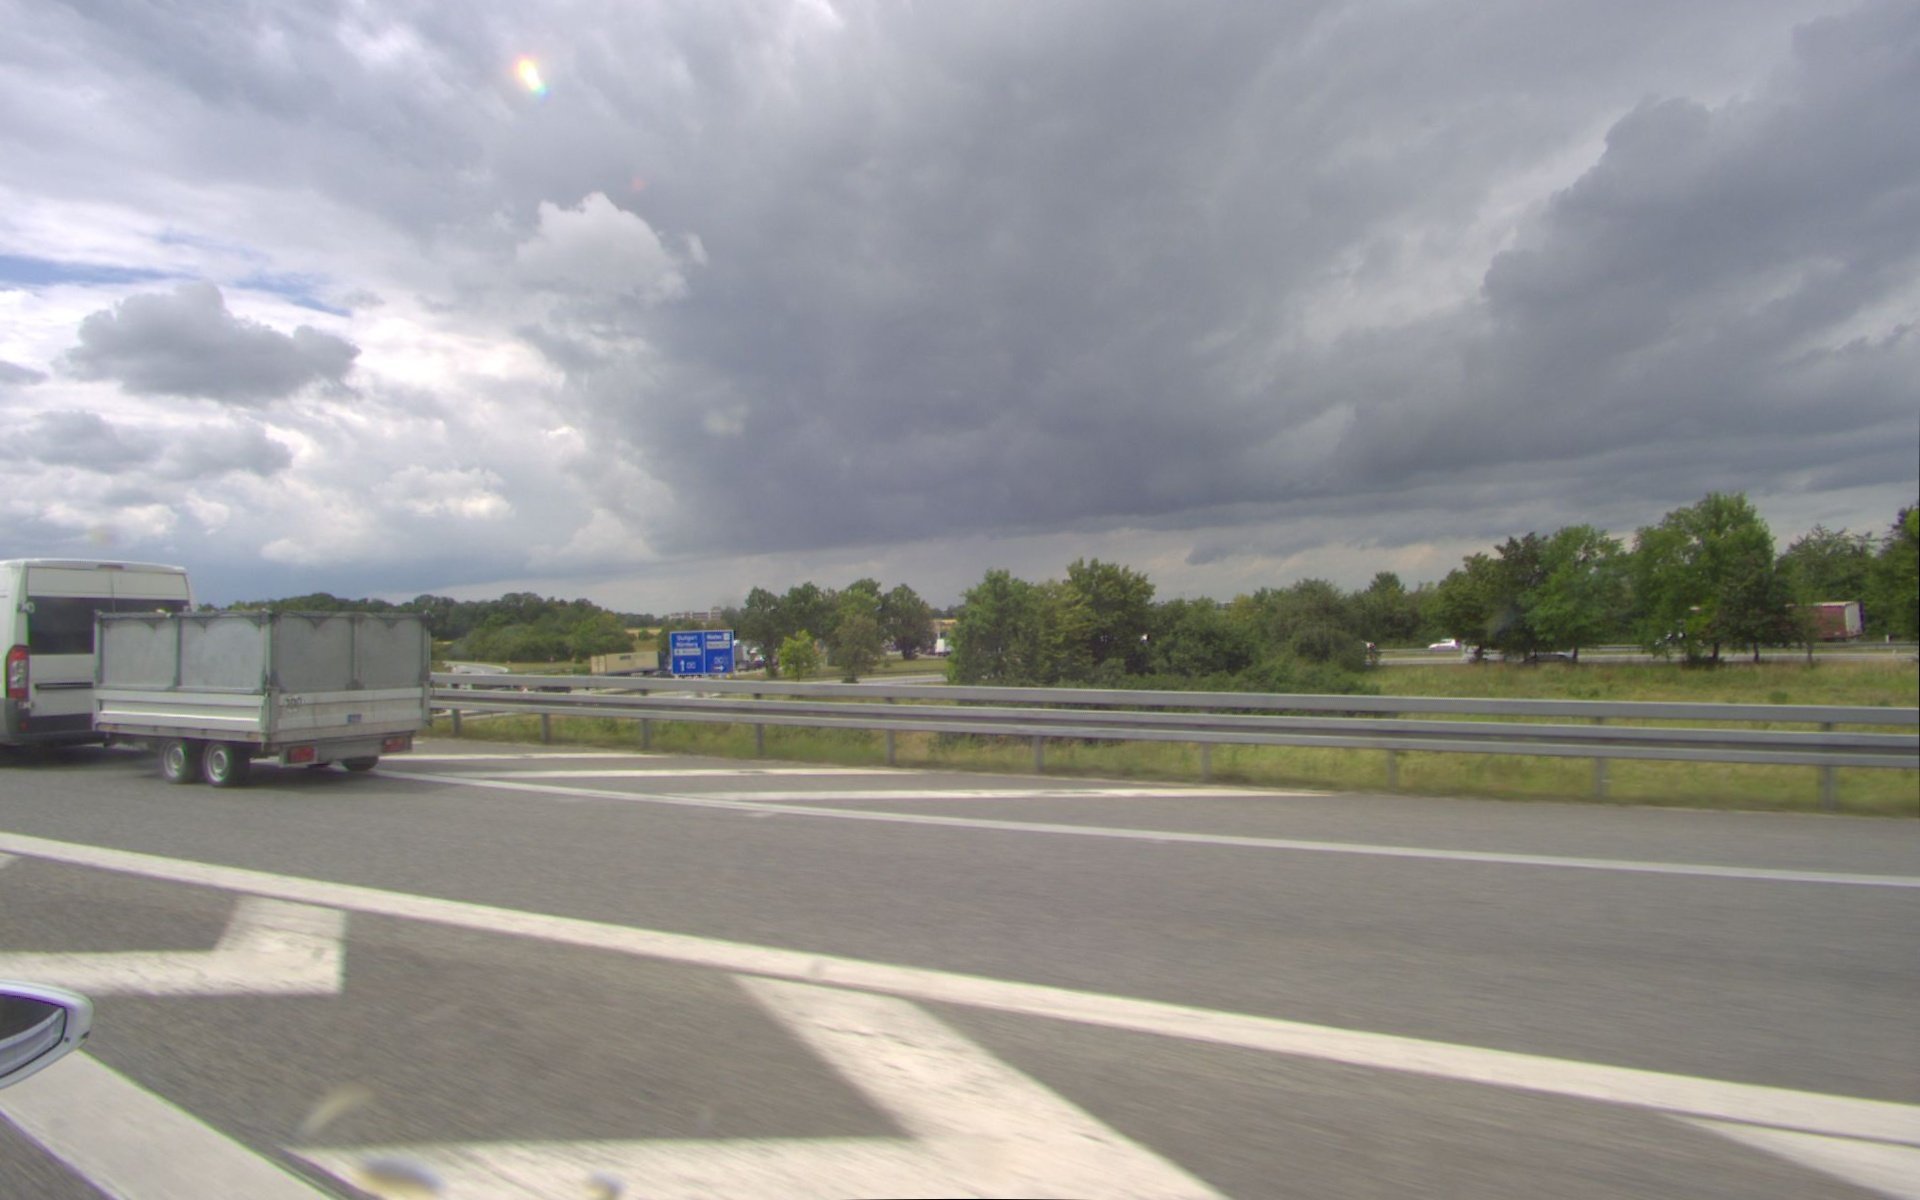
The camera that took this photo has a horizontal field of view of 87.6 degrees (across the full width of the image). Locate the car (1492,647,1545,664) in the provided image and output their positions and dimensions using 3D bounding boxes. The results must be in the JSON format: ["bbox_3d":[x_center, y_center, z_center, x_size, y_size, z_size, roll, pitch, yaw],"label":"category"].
[{"bbox_3d":[57.327,5.673,102.849,2.014,1.674,4.310,2,-3,-42],"label":"car"}]

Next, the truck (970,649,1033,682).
[{"bbox_3d":[7.038,11.195,173.359,3.805,5.281,14.791,1,-2,-28],"label":"truck"}]

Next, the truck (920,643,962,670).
[{"bbox_3d":[-3.843,10.968,196.867,3.886,5.104,12.969,0,-2,-21],"label":"truck"}]

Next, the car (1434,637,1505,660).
[{"bbox_3d":[60.049,5.687,118.191,2.734,2.602,7.036,1,-2,-38],"label":"car"}]

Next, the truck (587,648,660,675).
[{"bbox_3d":[-51.191,9.324,152.947,3.252,3.984,13.724,0,-3,17],"label":"truck"}]

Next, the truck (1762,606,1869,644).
[{"bbox_3d":[79.300,2.367,92.980,3.143,3.308,6.924,0,-2,-21],"label":"truck"}]

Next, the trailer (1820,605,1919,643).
[{"bbox_3d":[81.849,2.068,85.794,3.209,3.169,12.533,0,-2,-18],"label":"trailer"}]

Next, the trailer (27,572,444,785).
[{"bbox_3d":[-8.286,0.822,11.428,4.556,2.039,1.856,-1,-2,25],"label":"trailer"}]

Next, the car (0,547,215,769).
[{"bbox_3d":[-12.985,0.737,13.531,6.052,2.485,2.114,-1,-2,26],"label":"car"}]

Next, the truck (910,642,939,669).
[{"bbox_3d":[-7.254,11.277,205.029,3.796,5.380,6.427,0,-2,-23],"label":"truck"}]
